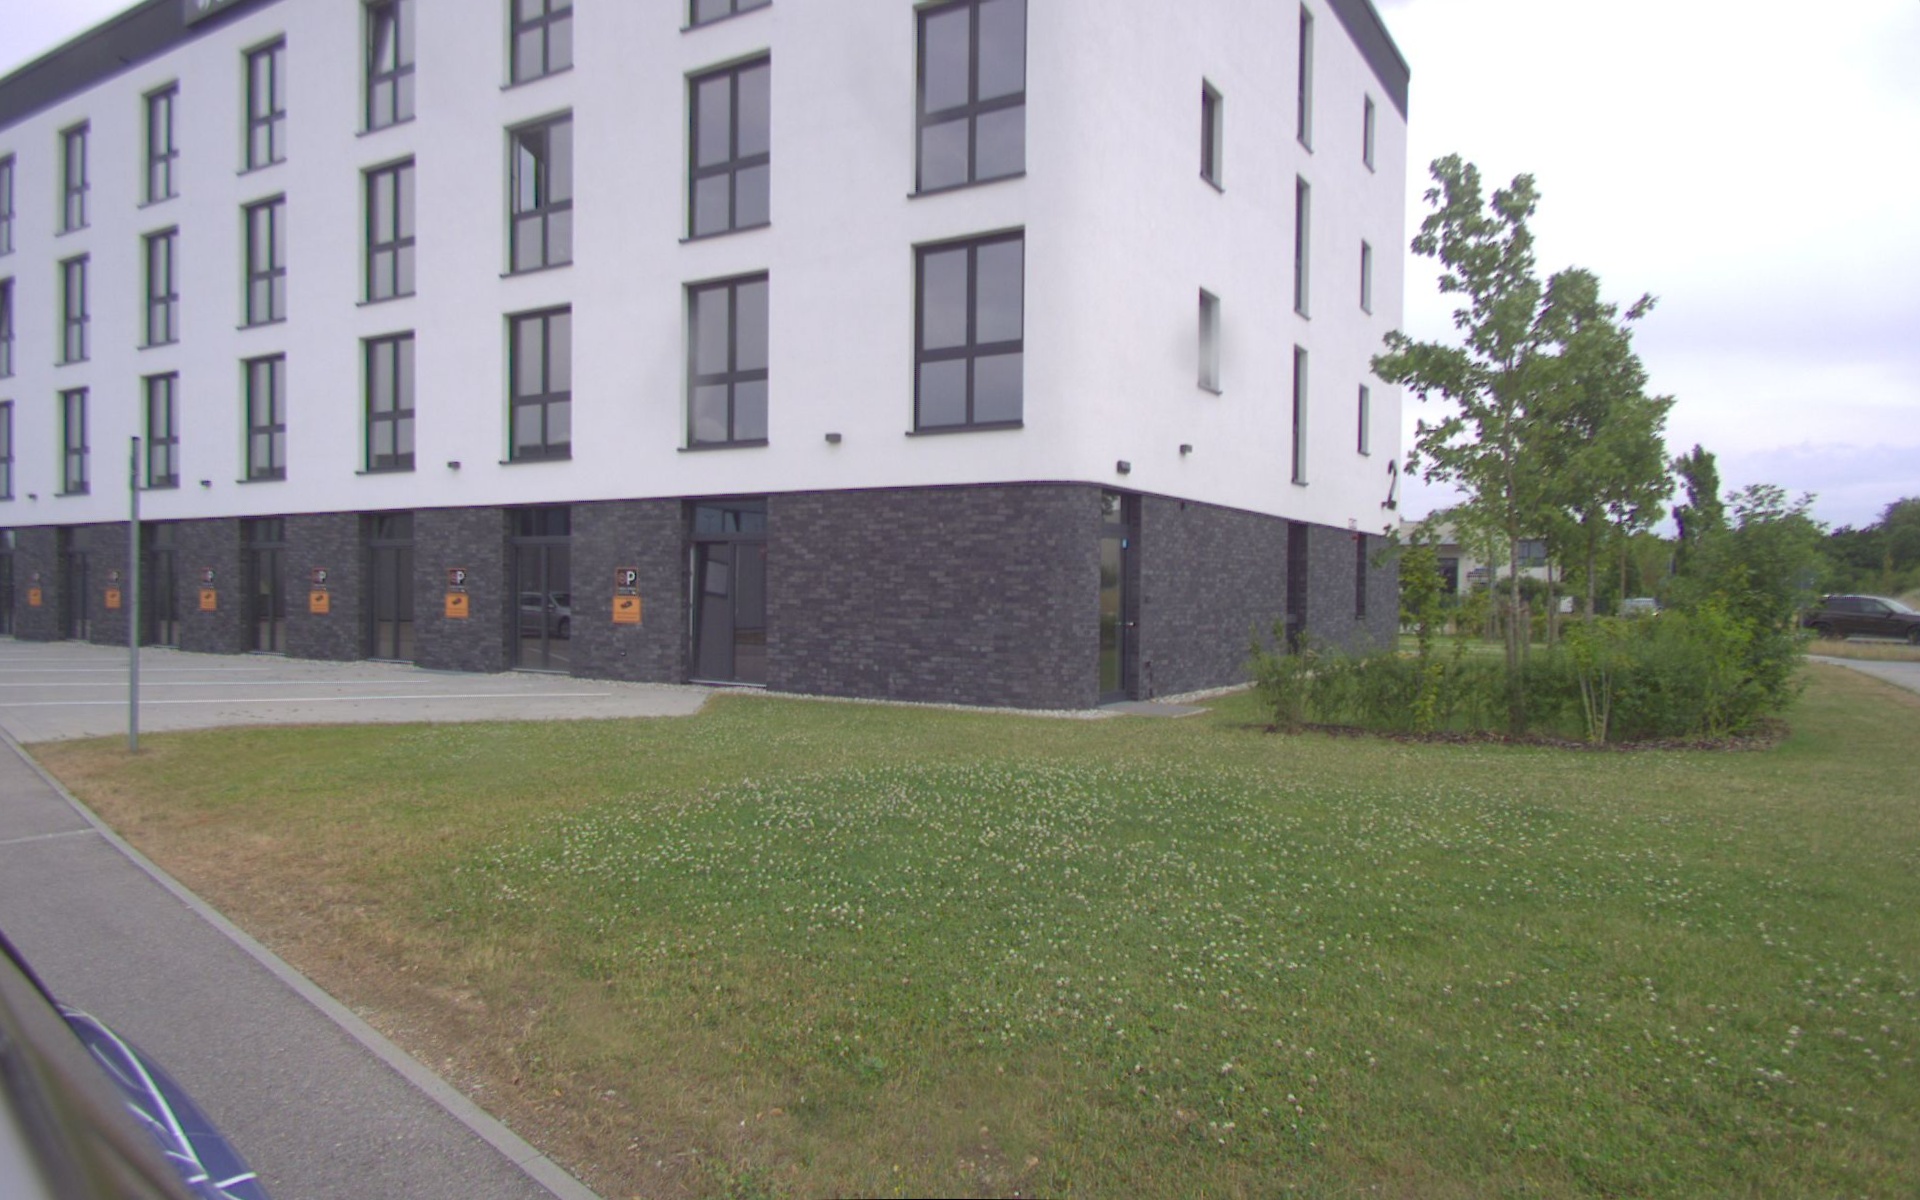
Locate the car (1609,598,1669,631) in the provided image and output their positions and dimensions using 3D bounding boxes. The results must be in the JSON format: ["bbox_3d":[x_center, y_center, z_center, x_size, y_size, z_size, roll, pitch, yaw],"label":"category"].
[{"bbox_3d":[35.349,0.717,52.784,1.883,1.652,3.968,1,1,24],"label":"car"}]

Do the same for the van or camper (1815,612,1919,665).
[{"bbox_3d":[35.106,1.423,37.649,1.965,1.762,4.588,0,1,-23],"label":"van or camper"}]
